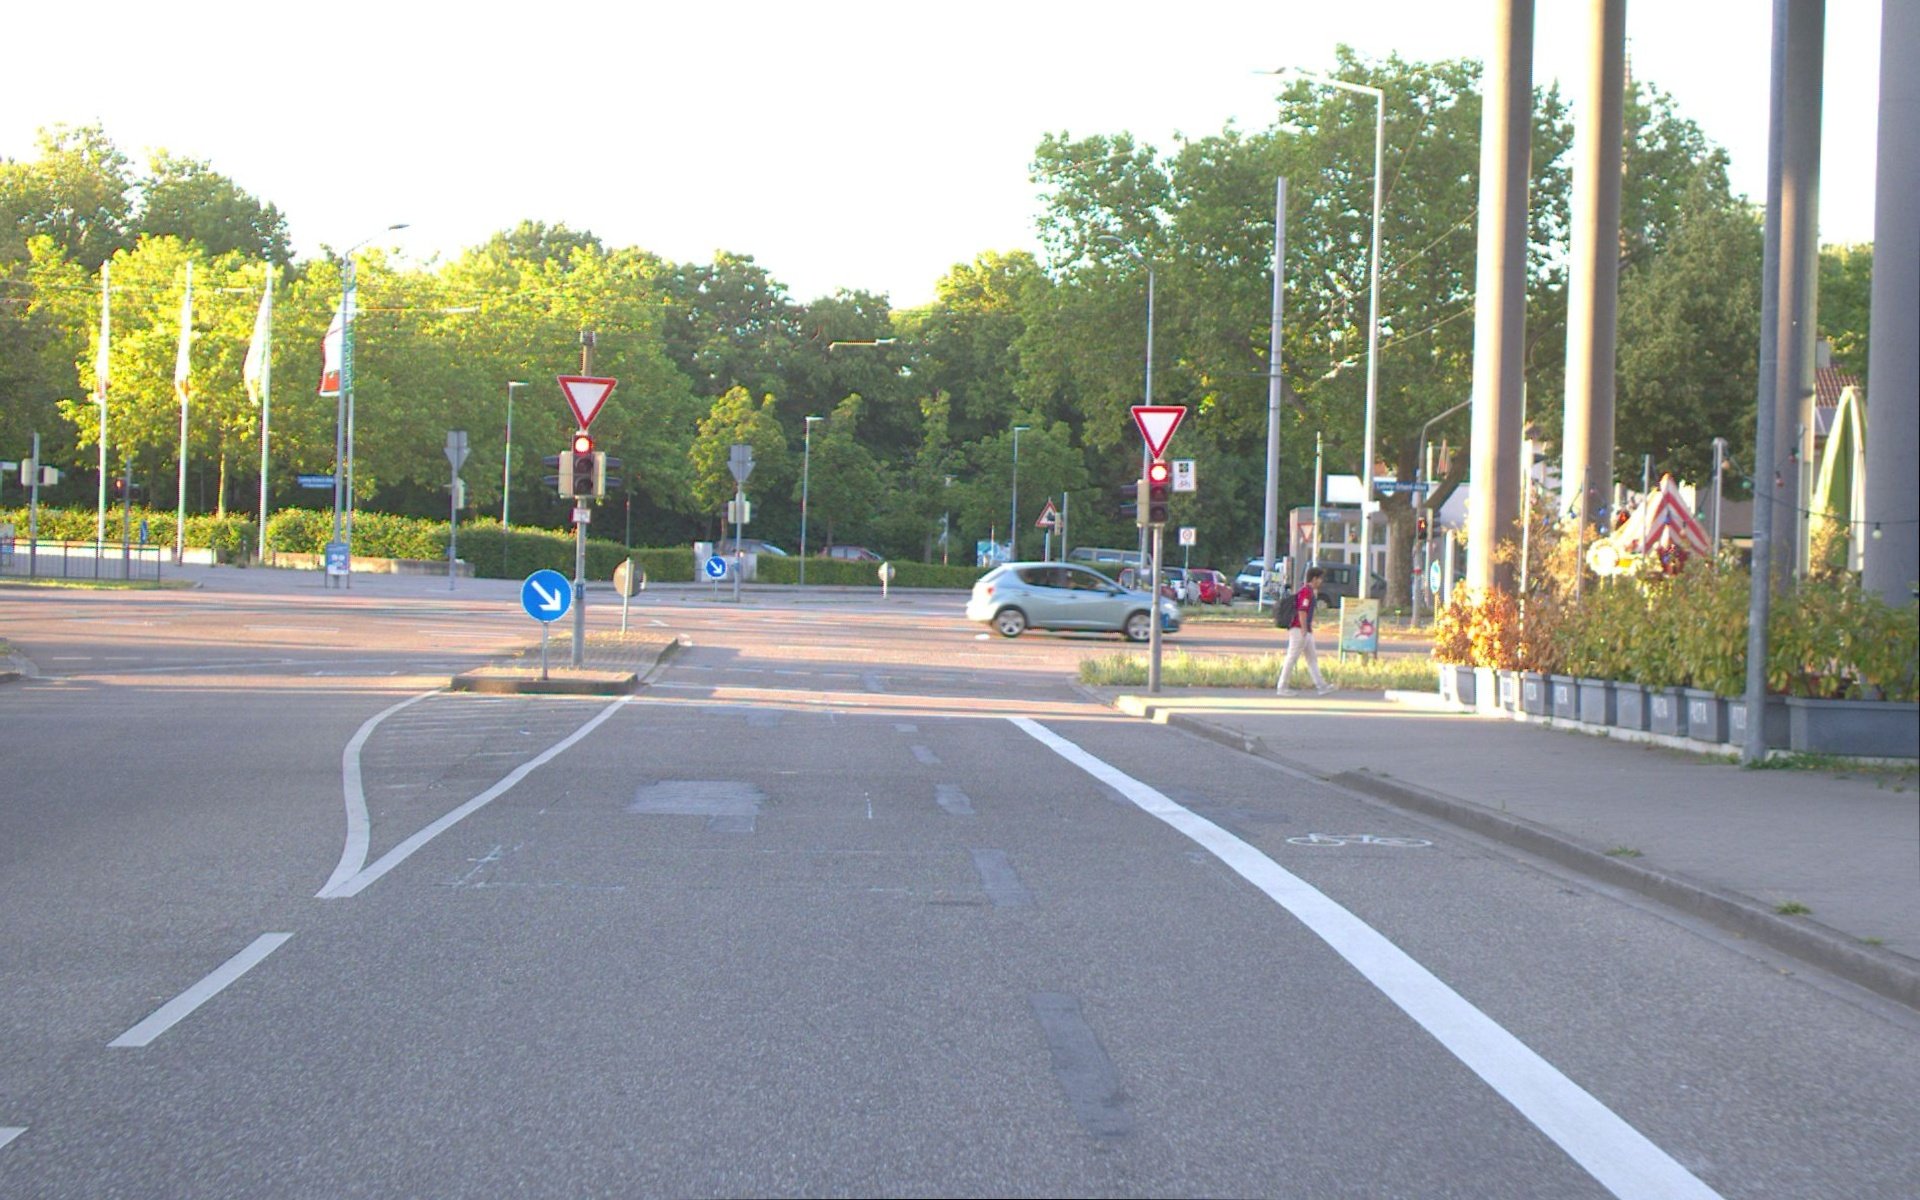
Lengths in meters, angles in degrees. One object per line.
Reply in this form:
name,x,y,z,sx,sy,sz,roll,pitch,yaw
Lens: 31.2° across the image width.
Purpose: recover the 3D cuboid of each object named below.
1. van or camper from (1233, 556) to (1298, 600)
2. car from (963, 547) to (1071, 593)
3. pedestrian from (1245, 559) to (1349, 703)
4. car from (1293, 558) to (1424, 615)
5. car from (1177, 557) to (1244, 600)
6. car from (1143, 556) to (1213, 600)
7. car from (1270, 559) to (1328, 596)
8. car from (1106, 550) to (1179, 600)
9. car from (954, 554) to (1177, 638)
van or camper,14.560,-1.060,163.522,1.627,1.975,3.801,3,2,28
car,2.604,-1.374,155.289,4.685,1.862,2.013,2,2,5
pedestrian,4.424,0.408,45.232,1.053,1.827,0.895,1,2,-15
car,14.105,-0.491,121.759,4.468,1.810,1.945,2,2,4
car,9.899,-0.859,135.827,1.499,1.600,3.399,3,2,25
car,8.403,-0.858,132.033,1.499,1.600,3.399,3,2,25
car,14.558,-0.981,147.421,1.499,1.472,3.080,3,2,25
car,6.827,-0.948,128.391,1.499,1.754,3.399,3,2,25
car,1.966,-0.086,64.951,4.022,1.414,1.603,2,2,-4
